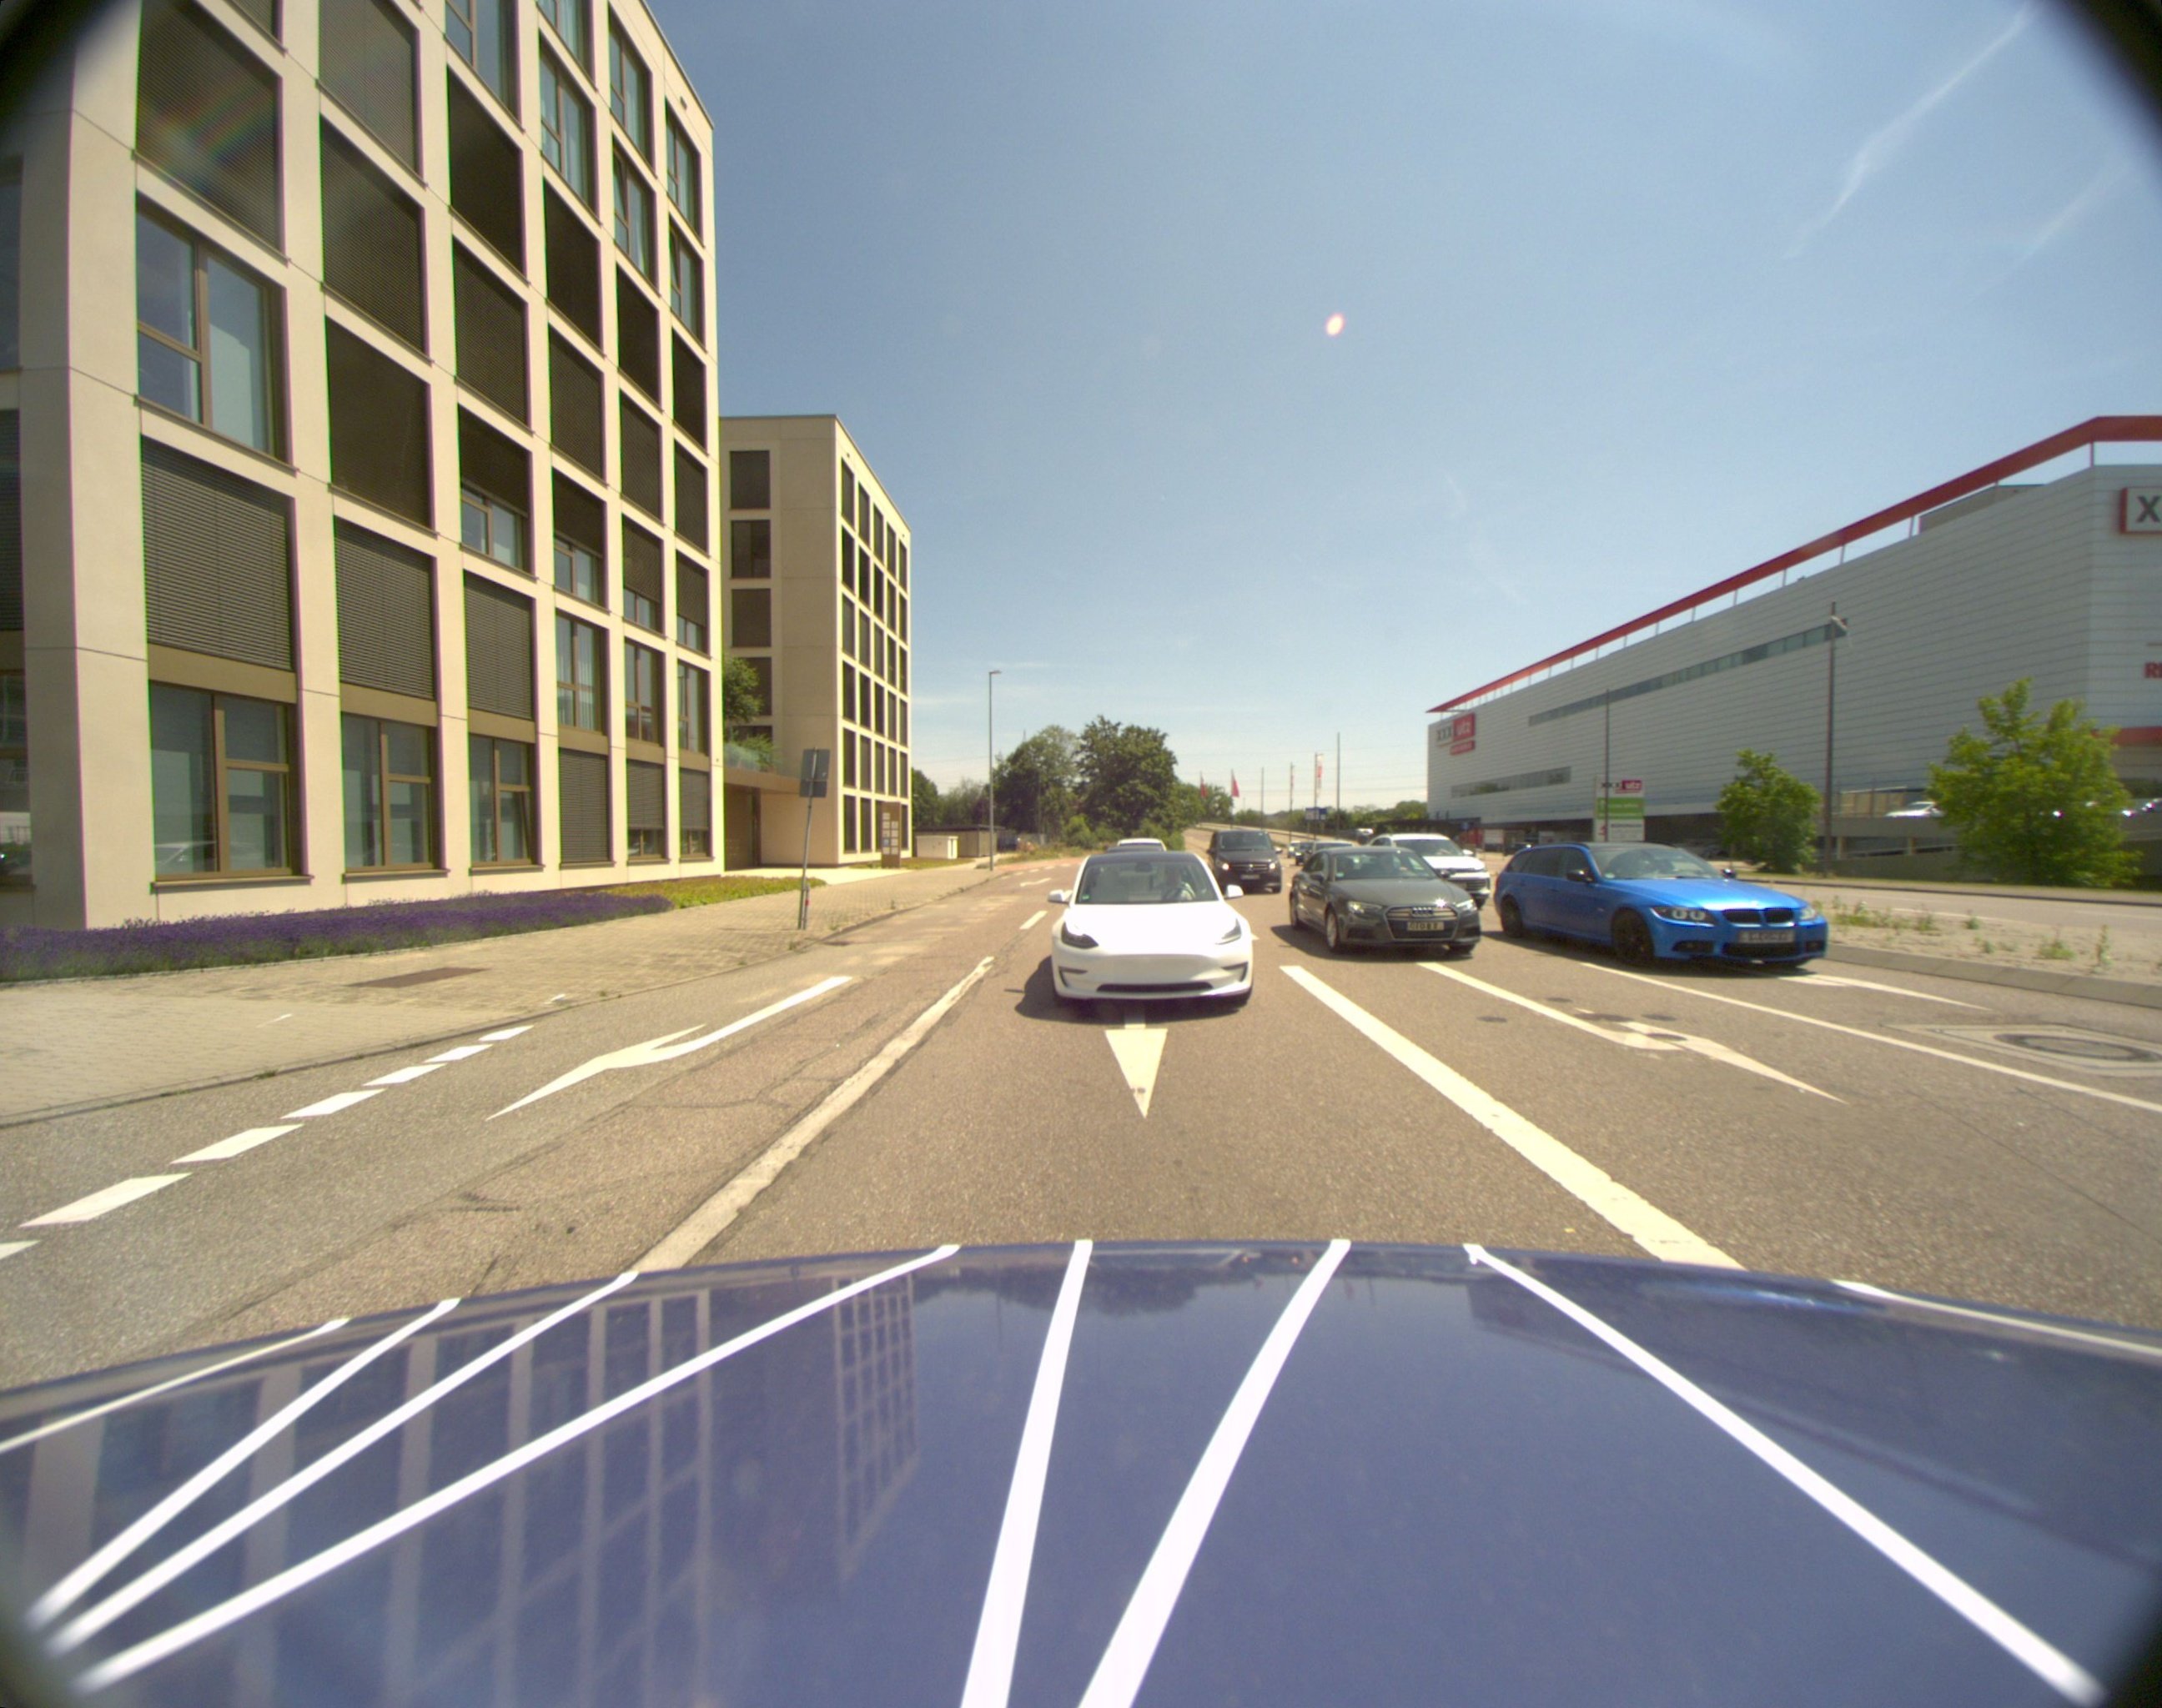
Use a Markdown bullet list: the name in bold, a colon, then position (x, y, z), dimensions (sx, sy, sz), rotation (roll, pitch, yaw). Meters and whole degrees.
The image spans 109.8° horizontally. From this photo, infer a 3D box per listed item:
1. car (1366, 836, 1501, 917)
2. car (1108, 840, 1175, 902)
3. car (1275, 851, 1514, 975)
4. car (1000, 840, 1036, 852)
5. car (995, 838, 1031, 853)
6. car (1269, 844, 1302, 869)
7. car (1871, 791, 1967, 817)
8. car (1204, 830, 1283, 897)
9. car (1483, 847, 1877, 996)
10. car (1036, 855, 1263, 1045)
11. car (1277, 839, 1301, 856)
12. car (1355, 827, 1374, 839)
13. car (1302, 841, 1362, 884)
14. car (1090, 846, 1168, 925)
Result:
- **car**: position (8.007, 0.416, 17.696), dimensions (1.768, 1.632, 4.494), rotation (-2, 1, 10)
- **car**: position (1.804, 0.423, 22.241), dimensions (1.777, 1.600, 3.821), rotation (0, 2, 6)
- **car**: position (4.146, 0.677, 10.841), dimensions (1.769, 1.374, 4.089), rotation (0, 1, 1)
- **car**: position (-7.058, -0.915, 85.053), dimensions (3.834, 1.386, 1.736), rotation (0, 1, -12)
- **car**: position (-7.439, -0.939, 82.989), dimensions (3.834, 1.543, 1.736), rotation (0, 1, -12)
- **car**: position (12.657, 0.128, 46.883), dimensions (1.605, 1.431, 3.738), rotation (0, 1, 20)
- **car**: position (52.565, -3.114, 47.702), dimensions (3.996, 1.499, 1.717), rotation (0, 1, 2)
- **car**: position (4.856, 0.219, 23.286), dimensions (1.895, 1.811, 4.838), rotation (-1, 1, 7)
- **car**: position (7.100, 0.653, 9.752), dimensions (1.769, 1.395, 4.431), rotation (-1, 1, 4)
- **car**: position (0.640, 0.799, 8.405), dimensions (1.823, 1.428, 4.284), rotation (-2, 1, 2)
- **car**: position (19.369, -0.631, 70.780), dimensions (1.724, 1.464, 4.002), rotation (0, 1, 9)
- **car**: position (55.559, -4.103, 148.938), dimensions (2.191, 2.270, 4.814), rotation (0, 1, 5)
- **car**: position (8.842, 0.258, 27.047), dimensions (1.767, 1.414, 3.903), rotation (-1, 1, 15)
- **car**: position (1.150, 0.600, 17.032), dimensions (1.556, 1.528, 3.822), rotation (0, 1, 6)
